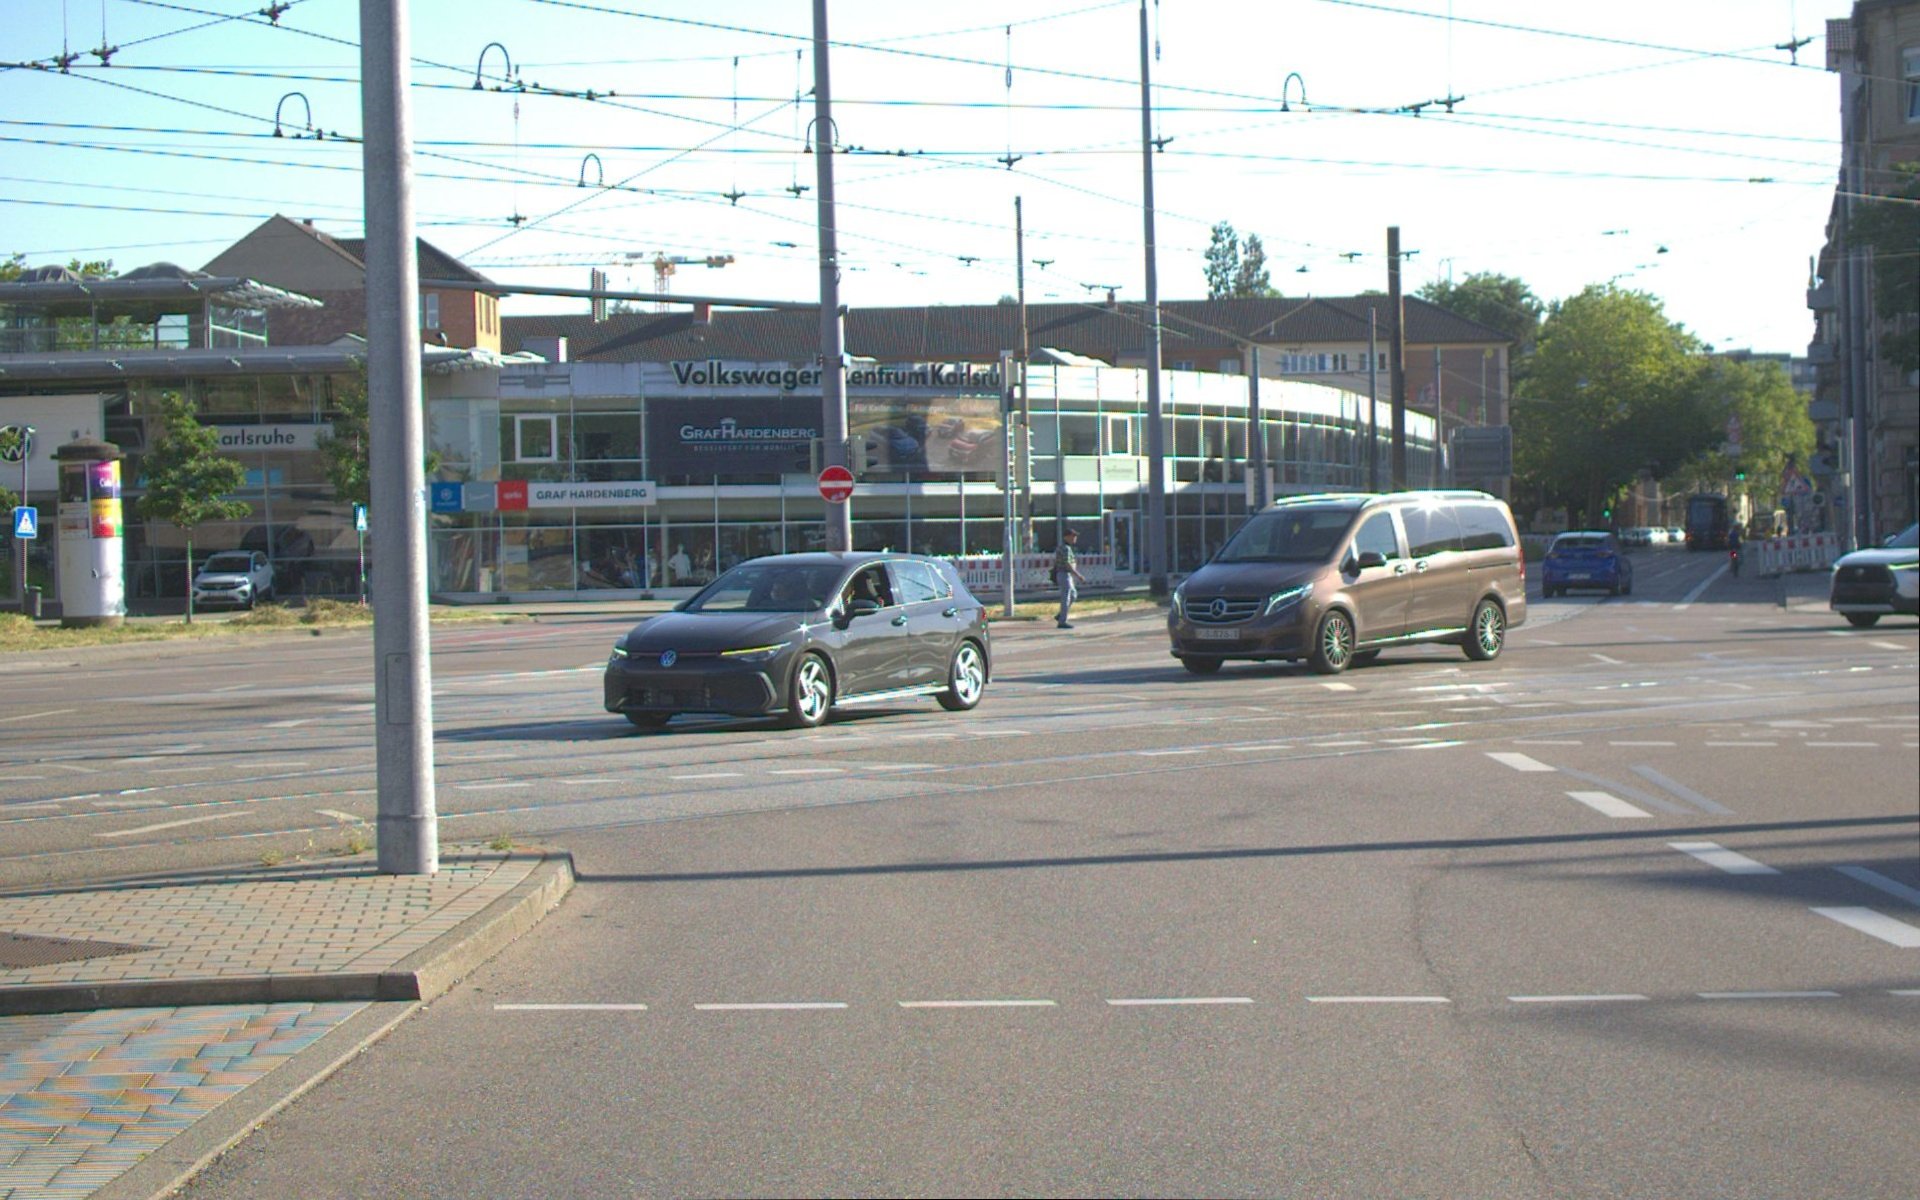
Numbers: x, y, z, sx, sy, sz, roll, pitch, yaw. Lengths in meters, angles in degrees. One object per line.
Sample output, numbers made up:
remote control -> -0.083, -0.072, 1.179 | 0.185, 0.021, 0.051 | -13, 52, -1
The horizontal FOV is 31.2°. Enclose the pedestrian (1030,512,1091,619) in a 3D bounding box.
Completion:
pedestrian -> 1.714, -0.596, 58.736 | 0.989, 1.810, 0.920 | 0, 2, -2

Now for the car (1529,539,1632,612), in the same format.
car -> 14.082, -0.581, 78.215 | 1.948, 1.588, 4.616 | -1, 1, 6

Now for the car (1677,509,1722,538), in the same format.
car -> 45.117, -4.669, 209.760 | 1.801, 1.650, 3.918 | 0, 3, -2

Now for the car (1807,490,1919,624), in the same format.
car -> 14.240, -0.635, 48.165 | 4.836, 1.793, 1.953 | -2, 1, -37

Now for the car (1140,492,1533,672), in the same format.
car -> 4.287, -0.248, 38.510 | 1.952, 1.887, 4.839 | 0, 1, 41

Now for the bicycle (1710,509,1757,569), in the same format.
bicycle -> 23.328, -1.861, 103.672 | 1.136, 1.684, 3.997 | 1, 3, 16

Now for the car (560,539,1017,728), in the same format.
car -> -1.401, 0.242, 29.668 | 1.951, 1.481, 4.095 | 0, 1, 31

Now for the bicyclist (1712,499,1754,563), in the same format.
bicyclist -> 23.338, -2.075, 103.757 | 1.120, 1.894, 1.073 | 1, 3, 17

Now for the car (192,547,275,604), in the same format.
car -> -21.271, -0.733, 100.767 | 1.993, 1.529, 4.001 | 0, 3, -6
